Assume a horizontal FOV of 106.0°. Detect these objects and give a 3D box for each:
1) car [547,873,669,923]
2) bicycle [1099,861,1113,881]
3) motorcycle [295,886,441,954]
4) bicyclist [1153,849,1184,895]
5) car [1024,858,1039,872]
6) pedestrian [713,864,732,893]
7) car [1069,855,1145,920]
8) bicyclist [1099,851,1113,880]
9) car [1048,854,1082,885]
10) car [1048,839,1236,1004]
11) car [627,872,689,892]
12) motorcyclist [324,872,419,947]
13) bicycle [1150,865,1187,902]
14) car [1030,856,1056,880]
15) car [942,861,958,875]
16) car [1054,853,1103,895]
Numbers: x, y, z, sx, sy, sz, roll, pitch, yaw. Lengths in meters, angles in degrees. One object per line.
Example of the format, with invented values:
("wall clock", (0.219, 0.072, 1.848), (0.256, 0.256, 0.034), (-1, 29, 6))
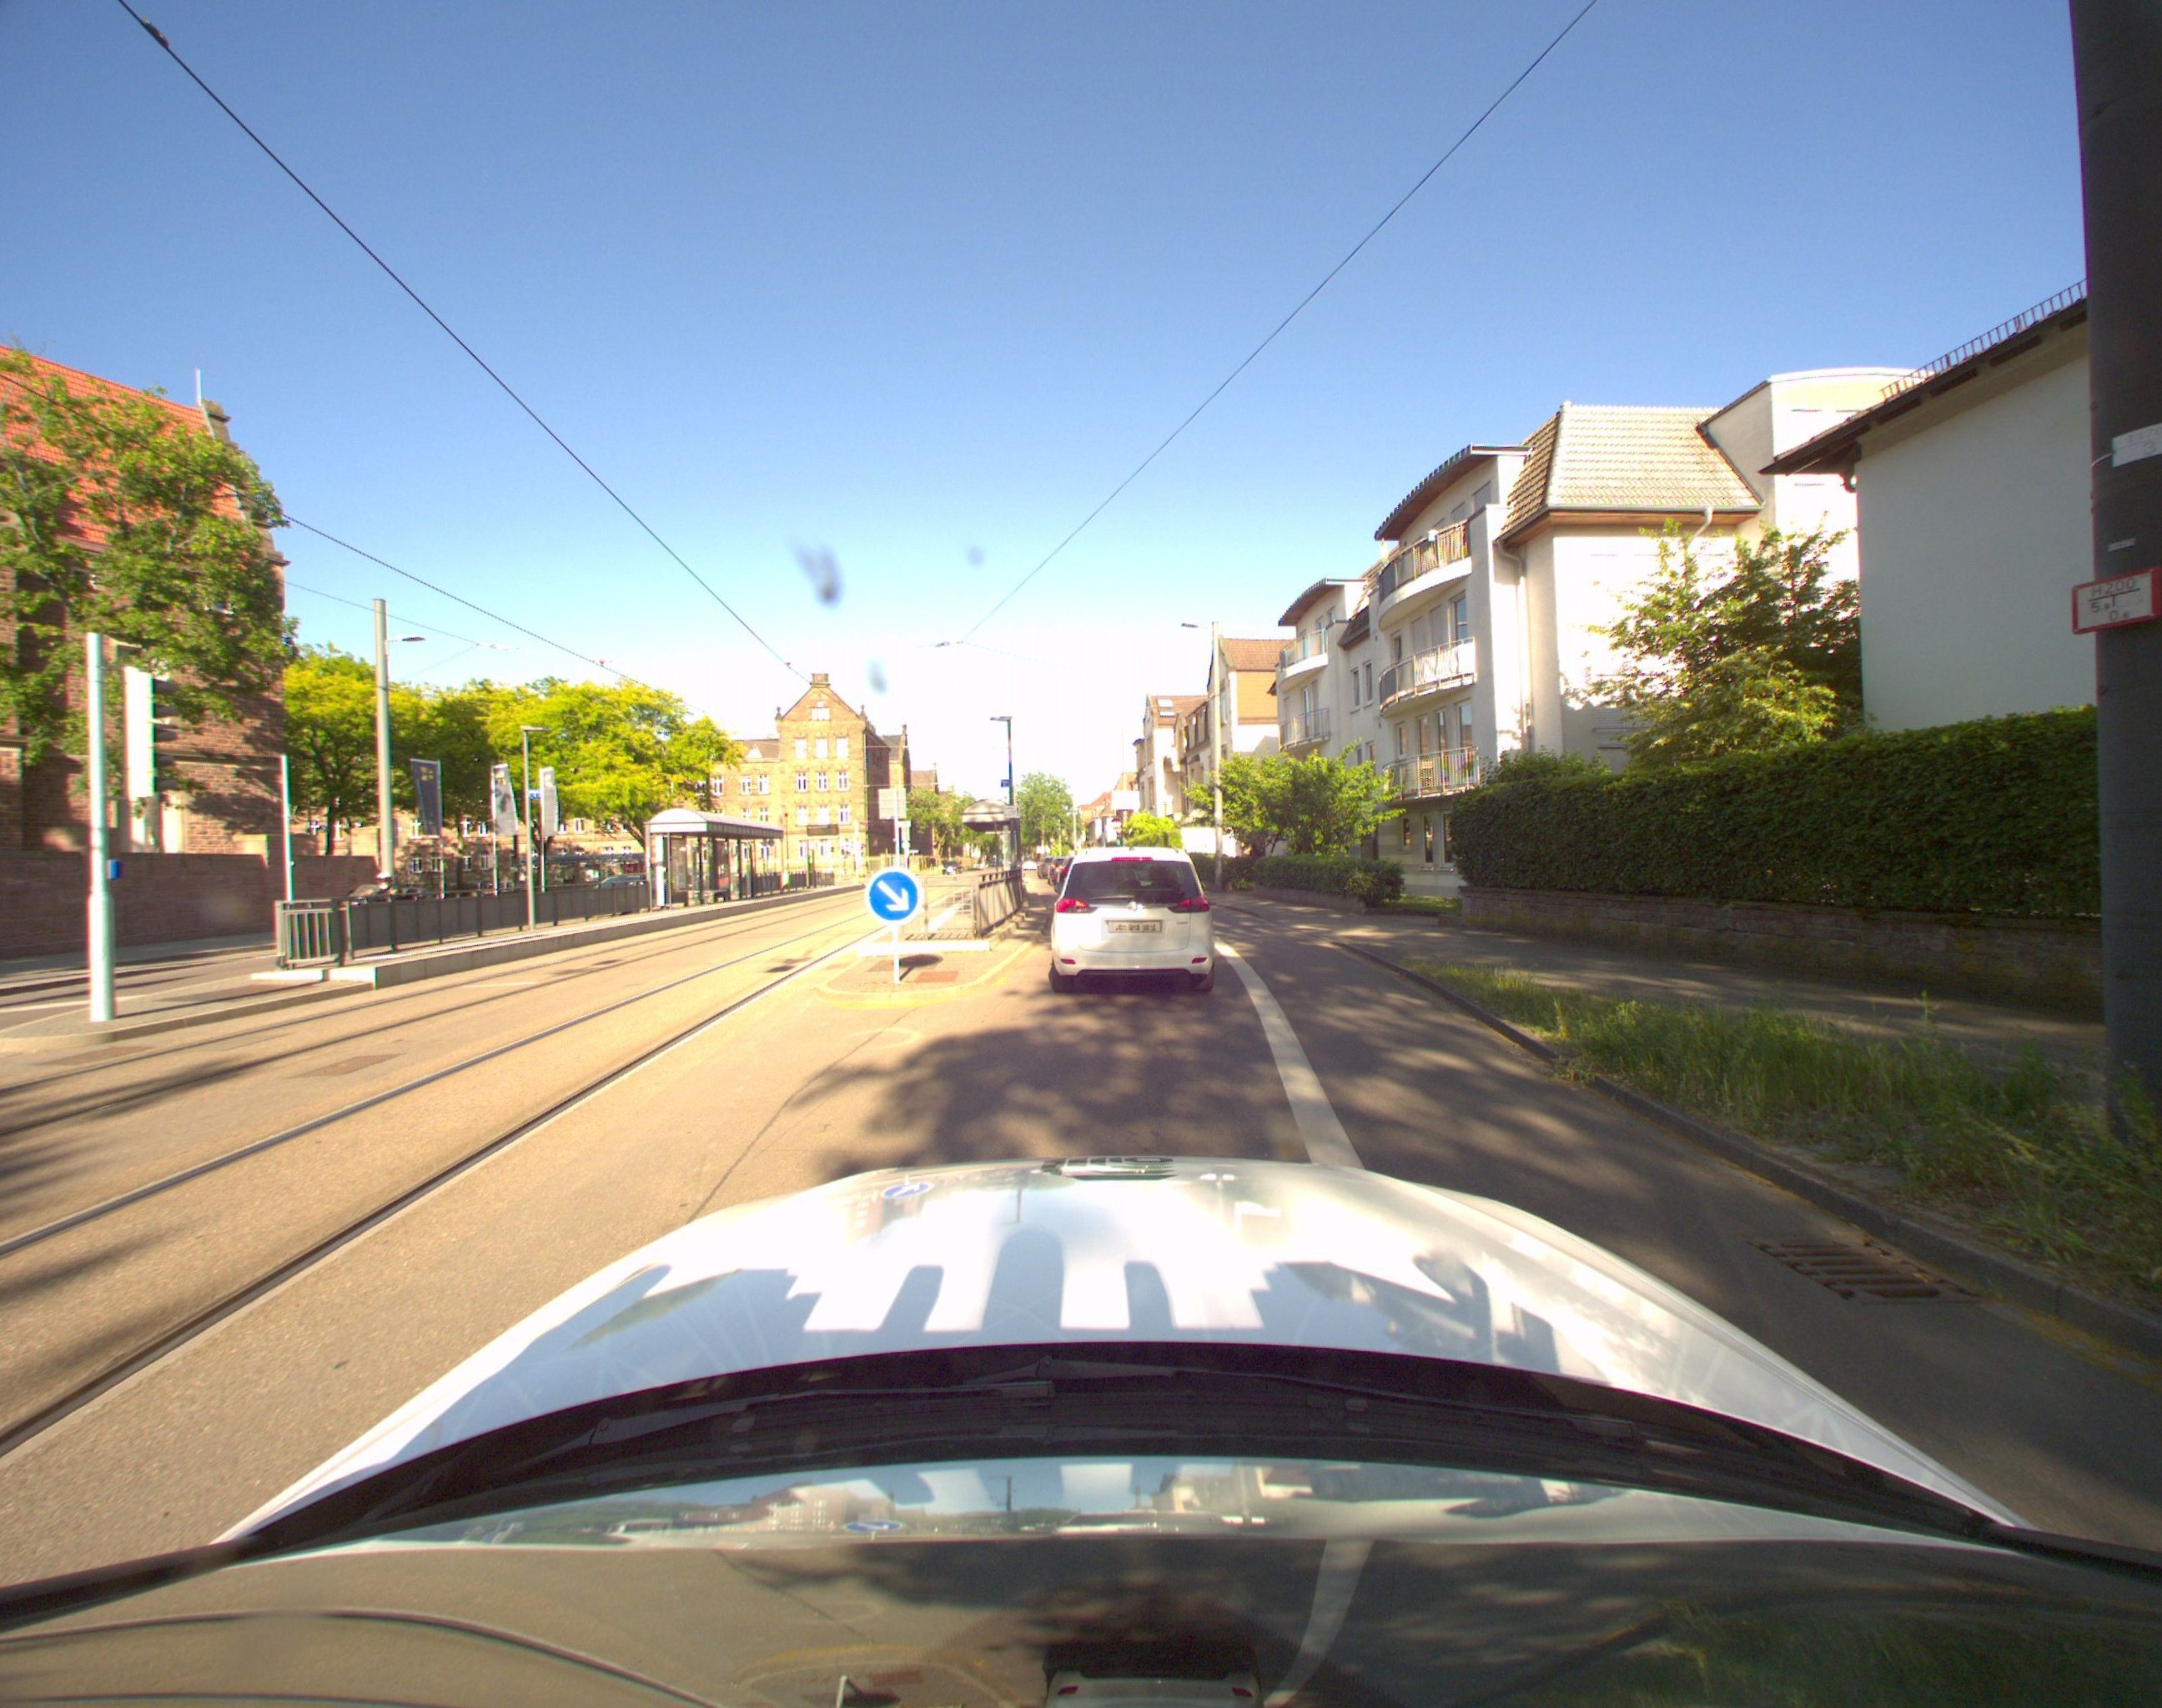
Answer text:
("car", (-16.232, 1.469, 28.216), (1.850, 1.403, 3.980), (-6, -2, -2))
("bicycle", (1.440, 0.964, 46.574), (0.684, 1.157, 1.618), (-1, -1, -2))
("motorcycle", (-15.140, 1.358, 17.438), (1.129, 1.243, 2.565), (-1, -1, -9))
("bicyclist", (2.903, 0.588, 27.002), (0.820, 1.501, 0.932), (-1, -1, -5))
("car", (-6.253, 1.411, 102.673), (1.771, 1.692, 3.877), (-1, -1, -2))
("pedestrian", (-22.850, 1.558, 51.943), (0.725, 1.861, 1.095), (-1, -1, -2))
("car", (0.564, 0.759, 20.522), (1.583, 1.420, 3.896), (-2, 0, -2))
("bicyclist", (1.434, 0.675, 46.667), (0.684, 1.634, 1.015), (-1, -1, -2))
("car", (-0.858, 0.843, 45.319), (1.770, 1.632, 3.879), (-1, -1, -1))
("car", (0.560, 0.712, 10.357), (1.831, 1.642, 3.913), (-1, -1, -4))
("car", (-34.818, 2.314, 67.063), (4.055, 1.522, 1.875), (-1, -1, -3))
("motorcyclist", (-15.139, 1.157, 17.415), (1.124, 1.525, 1.052), (-1, -1, -9))
("bicycle", (2.896, 0.970, 27.164), (0.828, 1.154, 2.091), (-1, -1, -5))
("car", (-2.704, 1.007, 58.898), (1.771, 1.632, 3.877), (-1, -1, -2))
("car", (-16.134, 1.672, 100.370), (1.906, 1.677, 4.345), (-2, 0, -8))
("car", (-0.178, 0.805, 34.205), (1.773, 1.632, 3.874), (-1, -1, -4))
